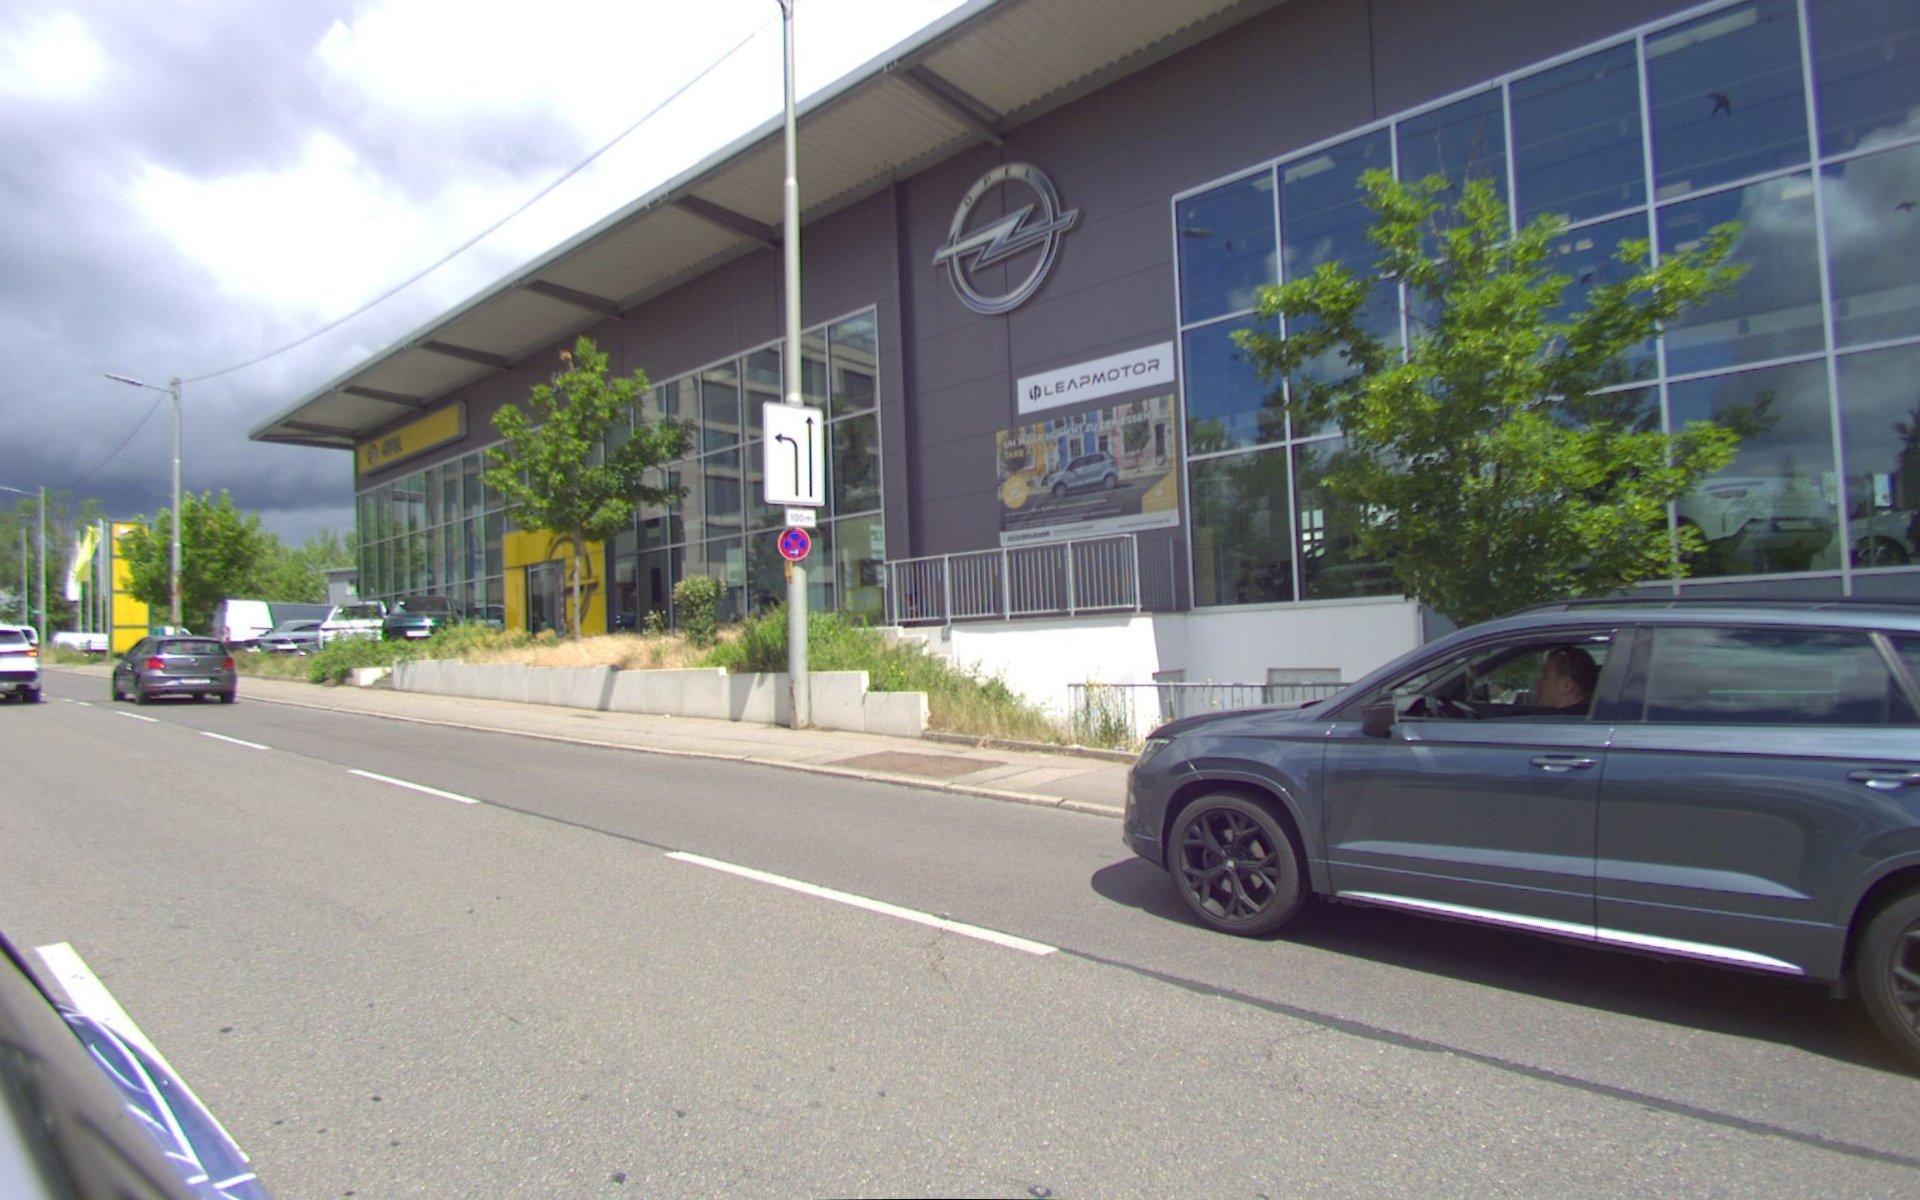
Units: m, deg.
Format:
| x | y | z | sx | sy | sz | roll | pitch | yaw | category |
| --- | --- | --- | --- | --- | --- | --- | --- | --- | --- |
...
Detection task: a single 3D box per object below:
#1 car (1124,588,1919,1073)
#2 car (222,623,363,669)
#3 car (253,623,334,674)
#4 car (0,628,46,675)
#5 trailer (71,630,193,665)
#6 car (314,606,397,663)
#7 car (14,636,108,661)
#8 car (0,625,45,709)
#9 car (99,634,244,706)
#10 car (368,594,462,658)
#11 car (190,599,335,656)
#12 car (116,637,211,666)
| x | y | z | sx | sy | sz | roll | pitch | yaw | category |
| --- | --- | --- | --- | --- | --- | --- | --- | --- | --- |
| 2.890 | 0.763 | 4.475 | 3.954 | 1.533 | 1.741 | -2 | -2 | 40 | car |
| -25.037 | 1.715 | 38.093 | 1.792 | 1.625 | 4.064 | -2 | -2 | 32 | car |
| -22.770 | 1.643 | 34.719 | 1.767 | 1.625 | 4.122 | 1 | -2 | -26 | car |
| -40.160 | 2.137 | 42.533 | 5.196 | 1.874 | 1.899 | -2 | -4 | 41 | car |
| -44.623 | 2.539 | 54.636 | 2.092 | 1.765 | 4.776 | -2 | -2 | 37 | trailer |
| -18.559 | 1.031 | 31.225 | 1.767 | 1.625 | 4.122 | 0 | -1 | -25 | car |
| -57.052 | 3.041 | 64.279 | 2.093 | 1.493 | 4.200 | -2 | -2 | 38 | car |
| -20.630 | 1.376 | 21.022 | 4.413 | 1.625 | 1.899 | -2 | -2 | 41 | car |
| -17.010 | 1.469 | 21.783 | 3.732 | 1.424 | 1.740 | -2 | -4 | 41 | car |
| -15.020 | 0.735 | 28.095 | 1.790 | 1.625 | 4.122 | 0 | -2 | -21 | car |
| -28.508 | 1.108 | 41.482 | 2.177 | 2.211 | 4.475 | -1 | -2 | 39 | car |
| -41.320 | 2.652 | 52.518 | 1.814 | 1.420 | 3.621 | -2 | -3 | 42 | car |
